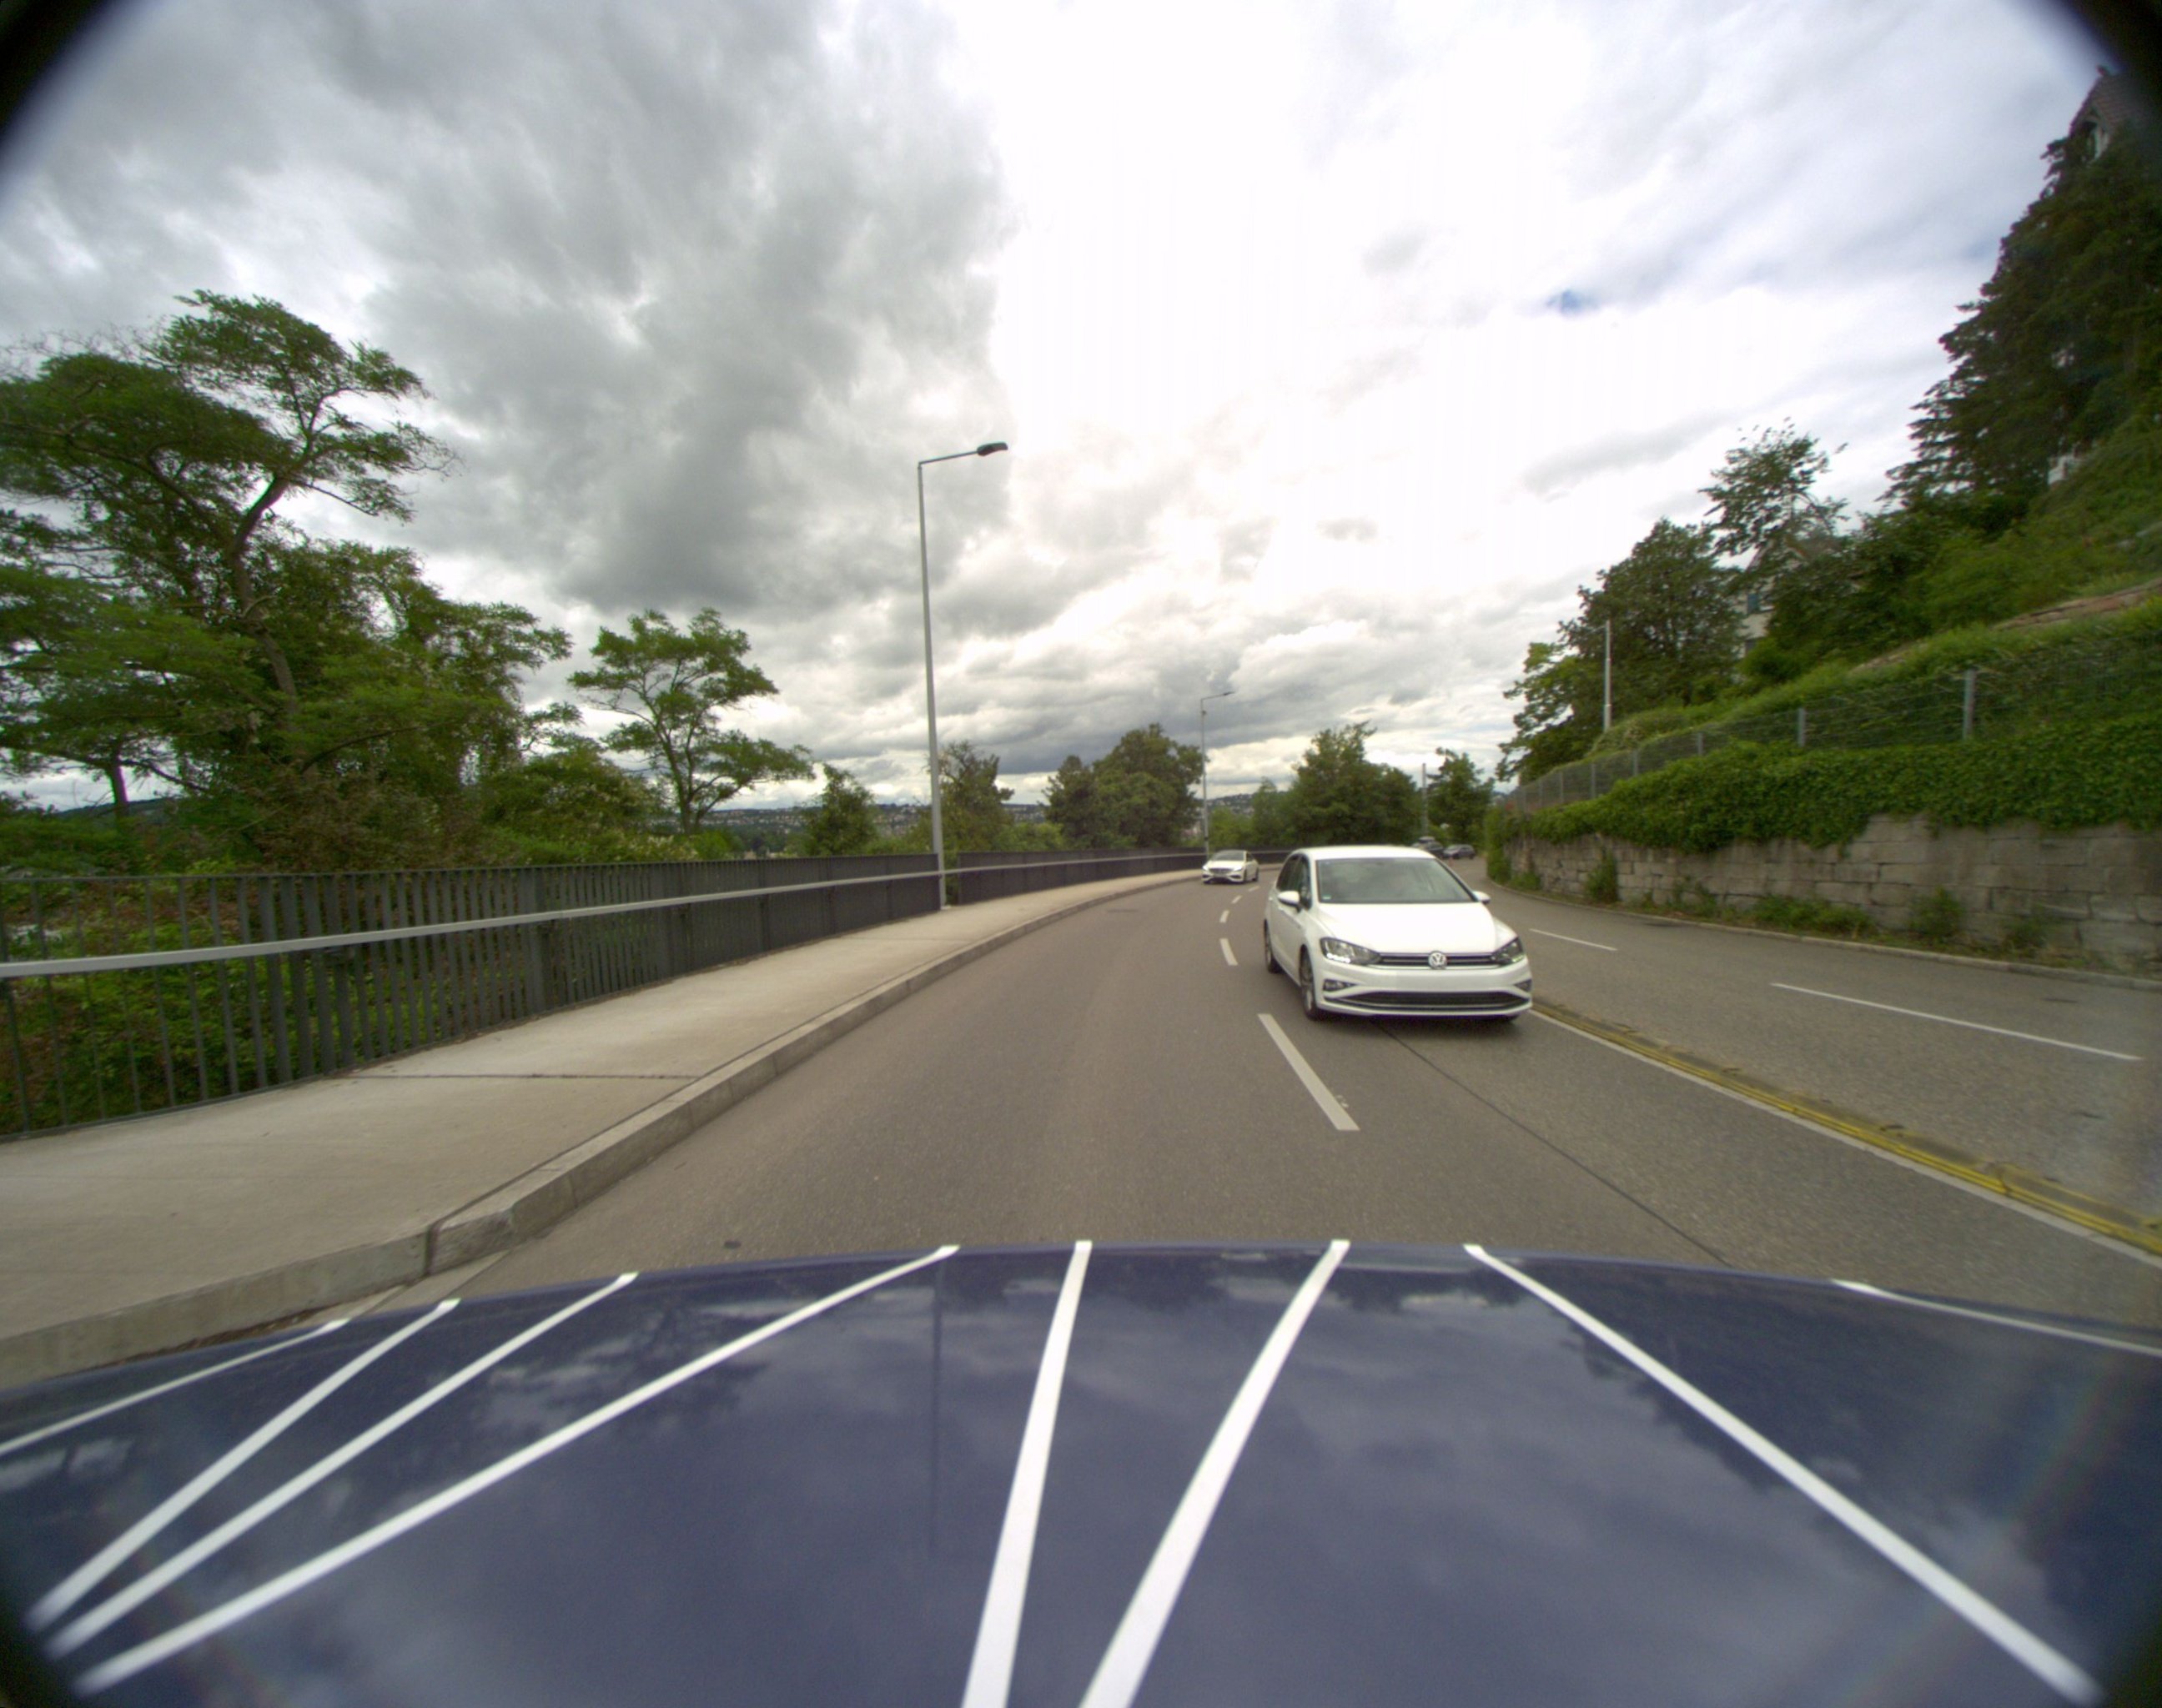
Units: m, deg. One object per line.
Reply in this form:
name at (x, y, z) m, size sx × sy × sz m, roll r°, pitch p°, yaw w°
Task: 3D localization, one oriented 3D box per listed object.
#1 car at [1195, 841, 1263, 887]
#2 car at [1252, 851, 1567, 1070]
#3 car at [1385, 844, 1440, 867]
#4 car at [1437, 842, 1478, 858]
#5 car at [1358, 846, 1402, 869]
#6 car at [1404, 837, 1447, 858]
car at (6.582, 0.366, 33.447) m, size 1.995 × 1.709 × 4.005 m, roll 2°, pitch 4°, yaw 25°
car at (2.947, 0.801, 7.894) m, size 1.824 × 1.571 × 4.357 m, roll -1°, pitch 1°, yaw 7°
car at (24.213, 0.083, 55.483) m, size 4.148 × 1.485 × 1.920 m, roll -3°, pitch 3°, yaw -38°
car at (36.437, -0.412, 73.471) m, size 4.008 × 1.425 × 1.929 m, roll -1°, pitch 2°, yaw -37°
car at (23.001, 0.250, 58.336) m, size 1.896 × 1.485 × 4.149 m, roll 0°, pitch 3°, yaw 40°
car at (31.594, -0.635, 69.694) m, size 4.412 × 1.822 × 1.693 m, roll -1°, pitch 5°, yaw -39°
